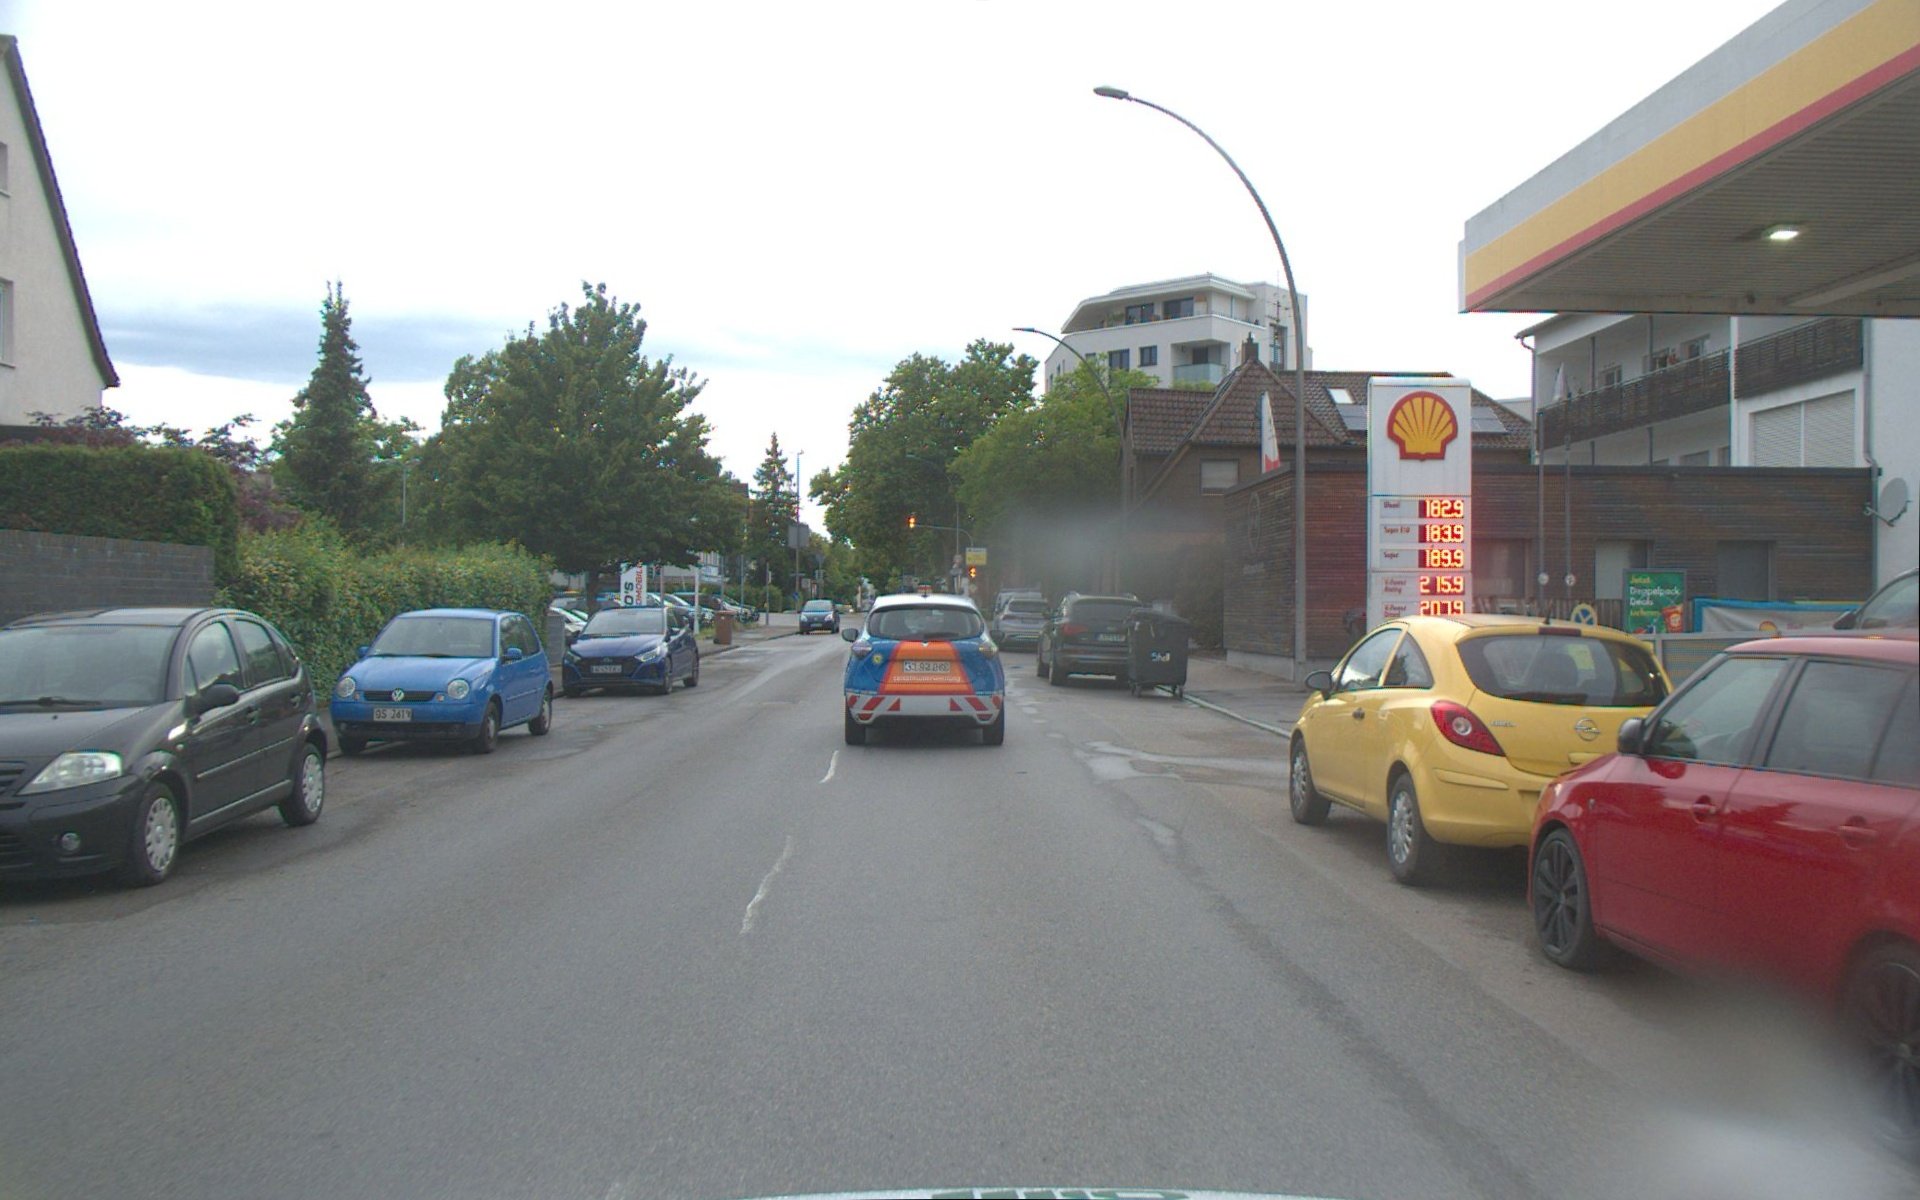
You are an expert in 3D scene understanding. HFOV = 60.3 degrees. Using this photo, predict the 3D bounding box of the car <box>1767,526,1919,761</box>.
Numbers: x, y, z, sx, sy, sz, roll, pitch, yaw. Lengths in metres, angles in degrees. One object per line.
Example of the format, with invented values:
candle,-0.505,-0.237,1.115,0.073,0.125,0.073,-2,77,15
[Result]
car,8.200,0.331,12.782,1.783,1.790,3.997,0,0,-4

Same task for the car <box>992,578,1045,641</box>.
car,2.048,0.296,58.912,1.741,2.064,4.755,2,1,1

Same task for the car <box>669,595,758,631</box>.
car,-11.713,0.618,78.813,3.905,1.571,1.804,1,0,1

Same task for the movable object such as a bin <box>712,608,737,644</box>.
movable object such as a bin,-7.656,0.840,53.790,0.693,1.149,0.735,1,0,-1

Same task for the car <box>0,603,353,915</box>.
car,-5.162,0.811,10.125,1.576,1.532,3.706,-1,0,-1

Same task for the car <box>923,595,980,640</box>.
car,-0.377,0.651,65.015,1.954,1.601,3.997,2,1,-4

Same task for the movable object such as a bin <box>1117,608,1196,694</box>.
movable object such as a bin,3.338,0.858,28.251,1.104,1.413,1.503,0,0,-4

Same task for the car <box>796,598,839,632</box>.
car,-6.427,0.658,74.713,1.593,1.458,3.683,0,0,0

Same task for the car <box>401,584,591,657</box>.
car,-11.963,0.520,42.902,4.469,1.821,1.895,0,0,-6

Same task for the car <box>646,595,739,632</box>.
car,-12.247,0.604,75.822,3.905,1.571,1.804,1,0,1

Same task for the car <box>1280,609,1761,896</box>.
car,3.245,0.796,10.375,1.623,1.426,3.800,1,0,-2

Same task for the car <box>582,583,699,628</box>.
car,-12.722,0.222,66.013,4.259,1.721,2.058,1,0,-1

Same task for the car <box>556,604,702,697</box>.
car,-5.590,0.813,28.374,1.770,1.427,3.943,-1,0,-1

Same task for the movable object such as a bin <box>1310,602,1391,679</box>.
movable object such as a bin,7.045,0.715,29.937,1.080,1.363,1.383,0,0,-4

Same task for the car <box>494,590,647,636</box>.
car,-11.957,0.393,50.952,4.288,1.398,1.888,0,0,-2

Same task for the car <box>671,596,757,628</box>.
car,-12.180,0.602,81.984,3.905,1.466,1.804,1,0,1

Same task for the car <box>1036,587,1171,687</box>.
car,2.665,0.641,31.823,2.049,1.691,4.558,2,1,-2

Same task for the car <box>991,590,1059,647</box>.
car,2.029,0.566,52.790,1.828,1.694,4.318,1,0,-2

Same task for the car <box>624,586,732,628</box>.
car,-12.000,0.292,70.671,4.259,1.720,1.959,1,0,-1

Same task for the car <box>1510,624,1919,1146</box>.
car,3.459,0.827,5.774,1.623,1.400,4.023,1,0,-2

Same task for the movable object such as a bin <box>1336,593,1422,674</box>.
movable object such as a bin,7.225,0.561,28.618,1.080,1.363,1.383,0,0,-4

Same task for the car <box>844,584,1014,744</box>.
car,-0.363,0.627,18.732,1.710,1.608,3.999,0,1,-2

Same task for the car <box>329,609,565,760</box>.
car,-5.477,0.841,18.083,1.514,1.427,3.596,-1,0,-1

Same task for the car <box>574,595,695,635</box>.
car,-12.448,0.563,63.487,4.259,1.489,1.941,1,0,-1
